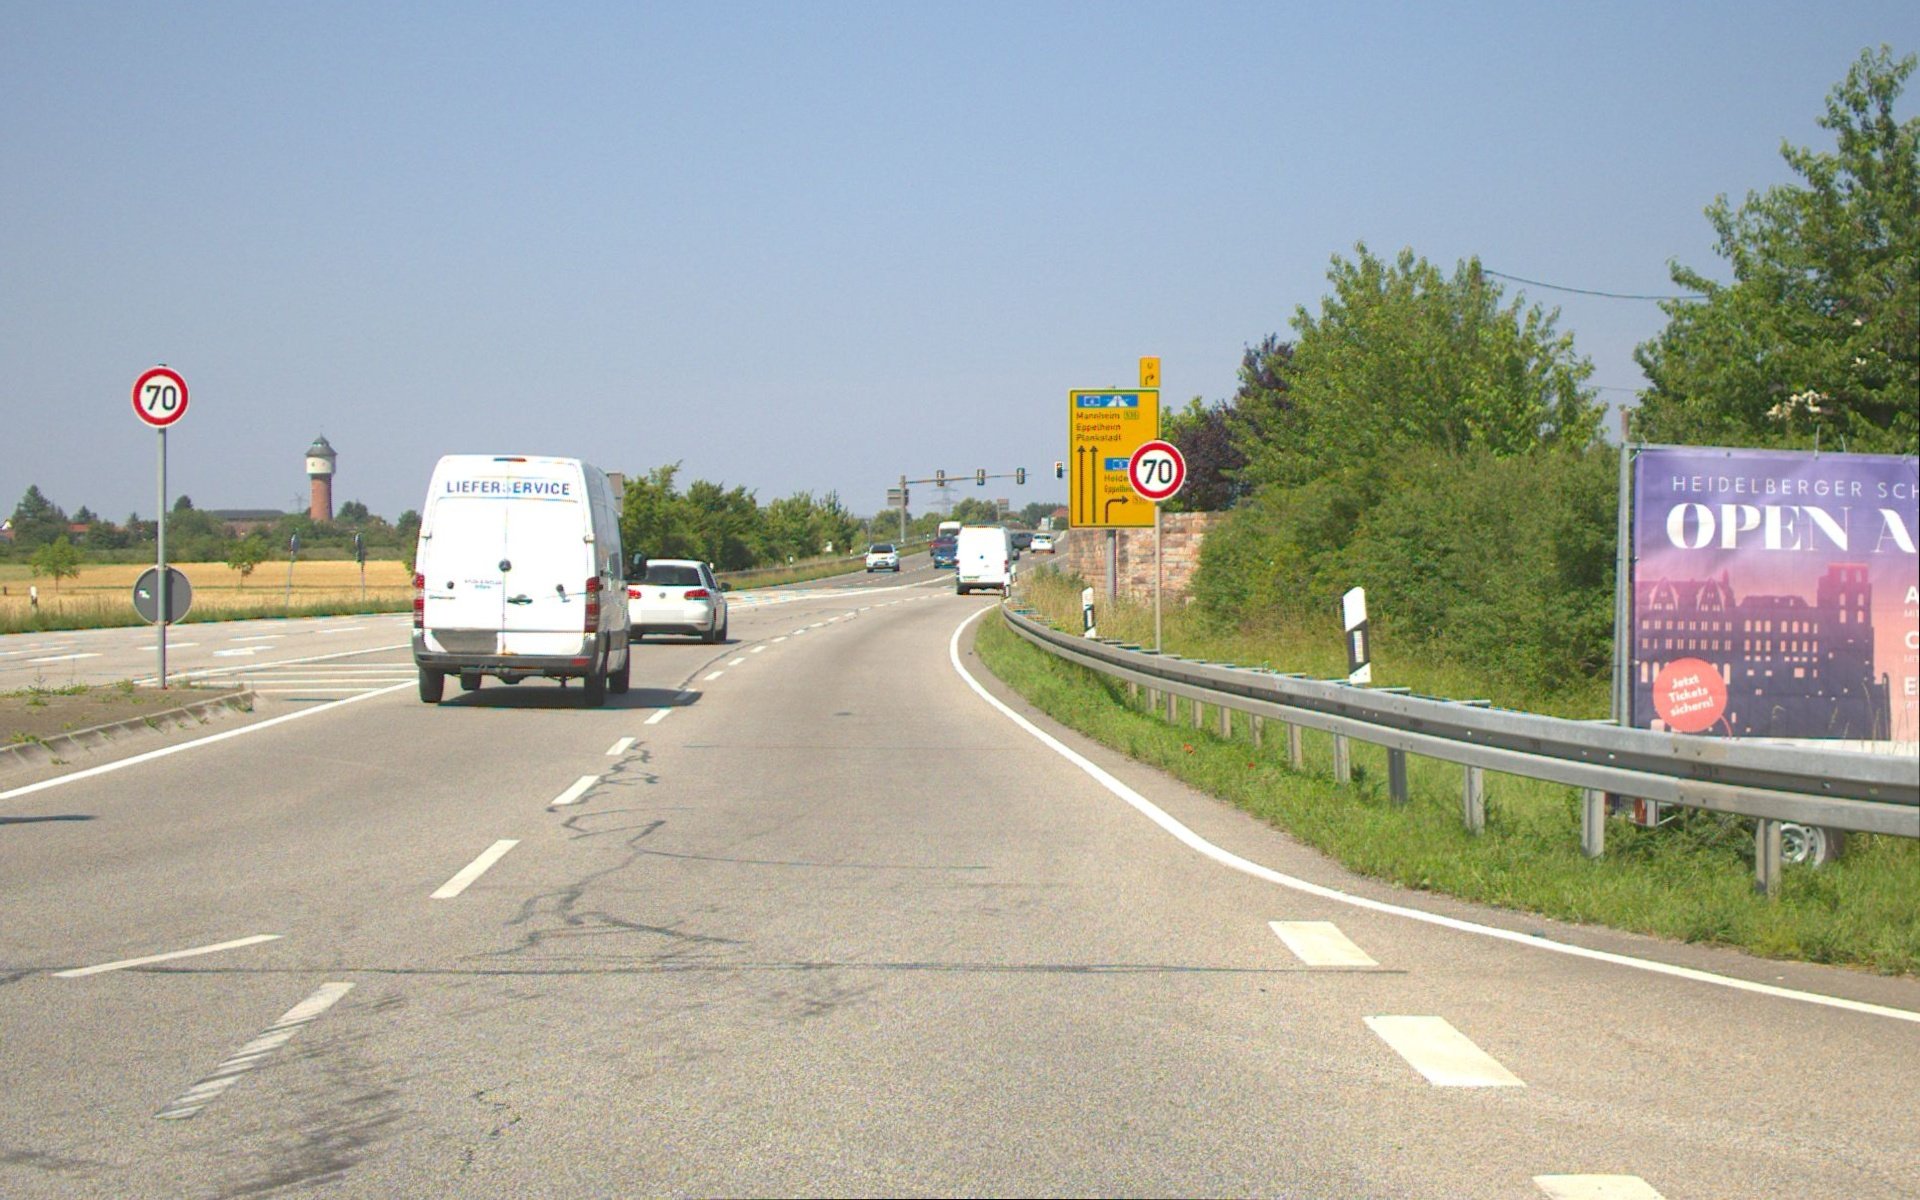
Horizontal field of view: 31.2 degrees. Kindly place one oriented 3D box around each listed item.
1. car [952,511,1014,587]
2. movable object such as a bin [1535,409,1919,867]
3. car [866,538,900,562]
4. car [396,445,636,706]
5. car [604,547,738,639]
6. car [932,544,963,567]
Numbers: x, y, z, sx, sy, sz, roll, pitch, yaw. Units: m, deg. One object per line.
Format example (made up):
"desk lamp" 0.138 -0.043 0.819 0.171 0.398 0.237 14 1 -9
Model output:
"car" 0.895 -1.877 128.662 1.994 2.686 4.969 2 0 3
"movable object such as a bin" 5.294 0.227 18.503 4.093 2.323 1.278 2 0 -4
"car" -4.702 -3.068 210.033 1.749 1.437 4.081 0 1 3
"car" -4.824 -0.300 38.157 2.039 2.611 5.742 2 1 -2
"car" -5.112 -0.154 61.269 1.799 1.503 4.196 1 2 3
"car" -0.774 -2.810 216.592 1.749 1.437 4.081 0 1 3
